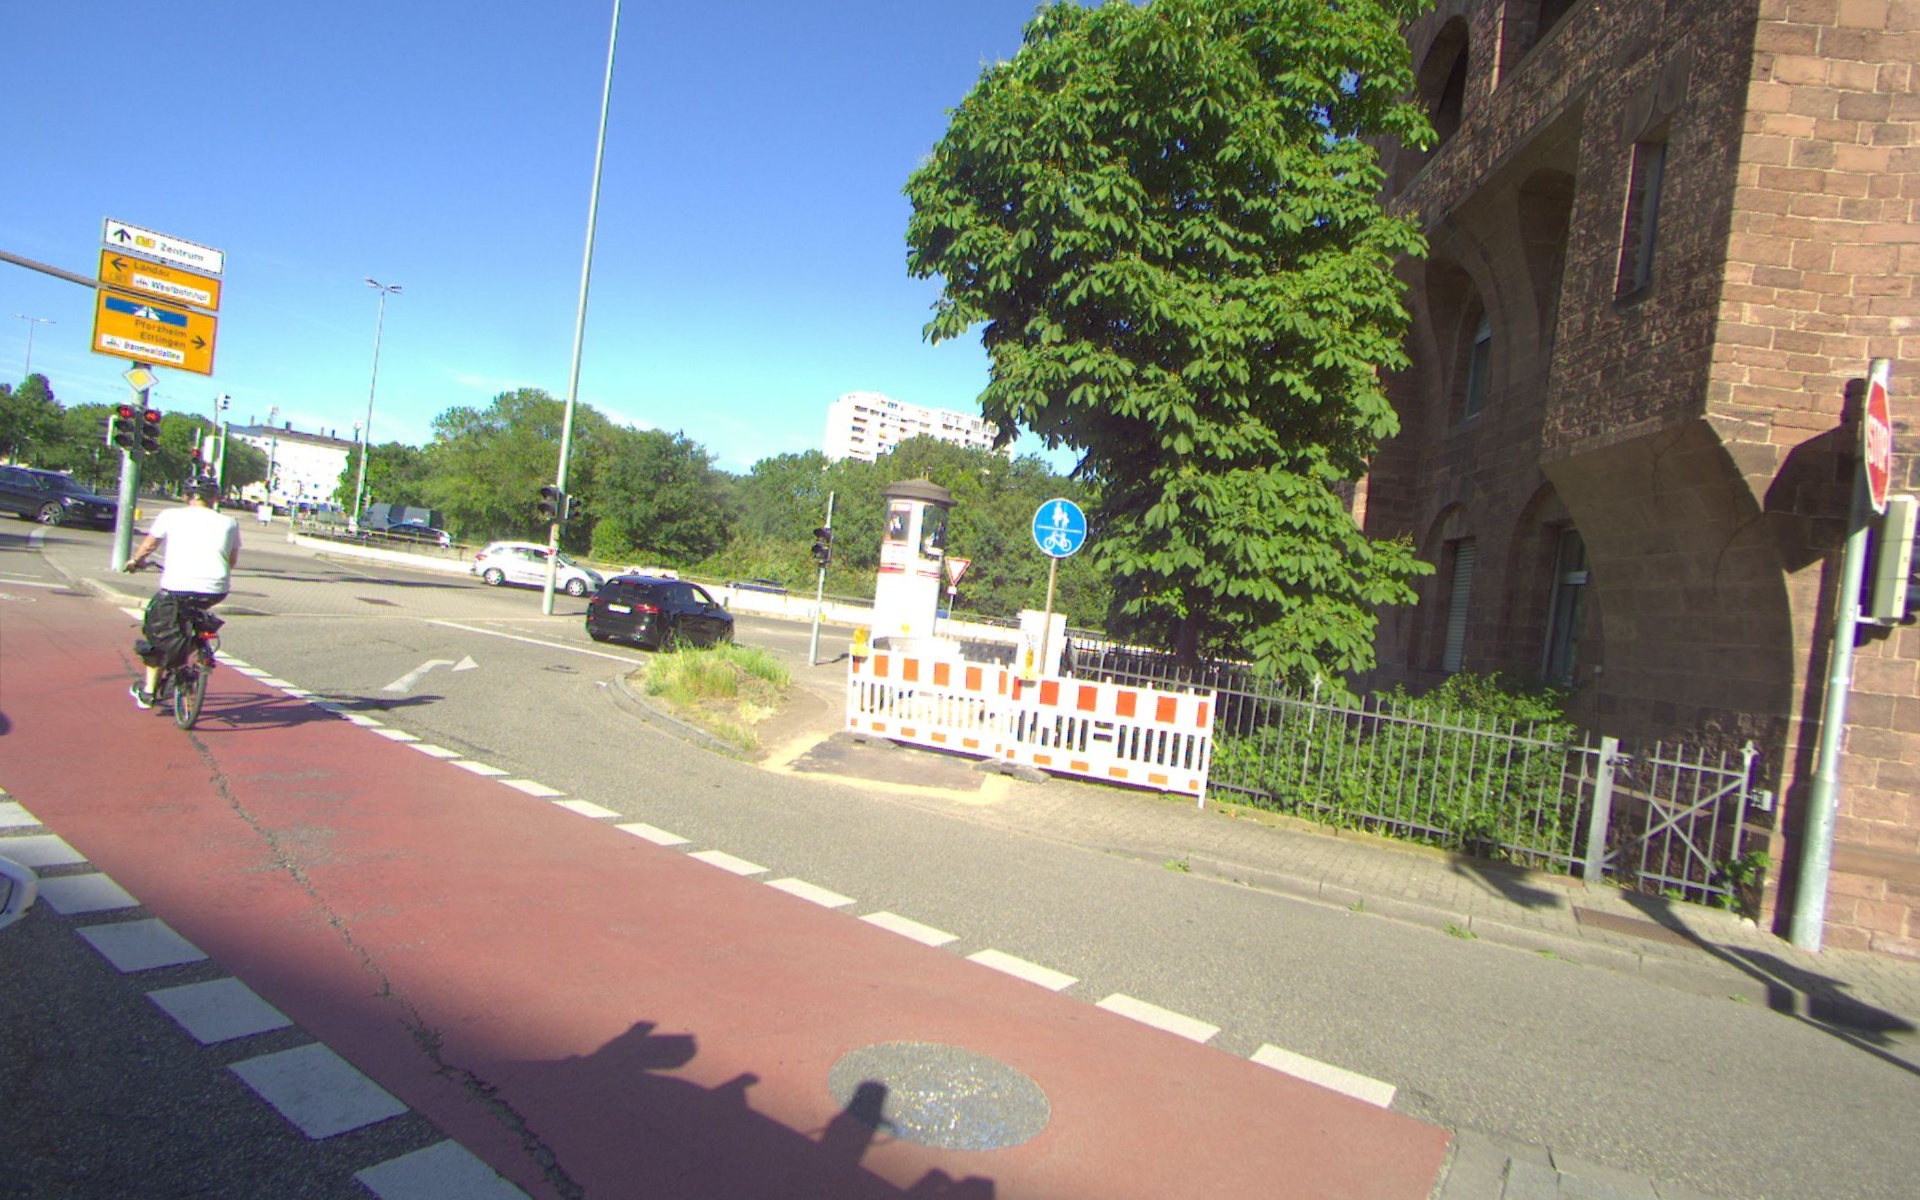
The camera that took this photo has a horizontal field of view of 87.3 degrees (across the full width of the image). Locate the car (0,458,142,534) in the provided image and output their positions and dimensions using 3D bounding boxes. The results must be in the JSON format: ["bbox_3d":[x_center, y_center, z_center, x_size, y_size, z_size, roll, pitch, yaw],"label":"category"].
[{"bbox_3d":[-29.114,-3.357,32.179,4.277,1.857,2.002,6,-2,6],"label":"car"}]

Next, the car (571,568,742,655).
[{"bbox_3d":[-6.645,0.295,22.521,1.723,1.512,4.001,9,0,14],"label":"car"}]

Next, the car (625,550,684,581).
[{"bbox_3d":[-22.297,-2.490,73.420,3.942,1.703,1.850,7,-2,-19],"label":"car"}]

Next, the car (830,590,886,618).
[{"bbox_3d":[-8.090,0.322,79.469,3.943,1.681,1.993,7,-2,-20],"label":"car"}]

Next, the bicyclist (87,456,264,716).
[{"bbox_3d":[-5.823,-0.102,7.500,0.796,1.725,1.074,8,-1,-38],"label":"bicyclist"}]

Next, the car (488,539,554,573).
[{"bbox_3d":[-30.843,-3.078,70.808,3.942,1.770,1.993,7,-2,-19],"label":"car"}]

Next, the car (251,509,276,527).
[{"bbox_3d":[-91.064,-10.685,131.581,1.977,1.814,3.975,7,-2,-27],"label":"car"}]

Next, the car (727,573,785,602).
[{"bbox_3d":[-15.492,-0.923,76.399,3.945,1.681,1.991,7,-2,-22],"label":"car"}]

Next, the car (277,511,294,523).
[{"bbox_3d":[-110.811,-13.577,165.234,1.978,1.660,3.968,7,1,-30],"label":"car"}]

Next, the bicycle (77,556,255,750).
[{"bbox_3d":[-5.883,0.329,7.506,0.796,1.123,2.377,9,-1,-38],"label":"bicycle"}]

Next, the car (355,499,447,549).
[{"bbox_3d":[-38.726,-5.242,69.786,4.798,2.638,2.262,6,-2,-4],"label":"car"}]

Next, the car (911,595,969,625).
[{"bbox_3d":[-1.629,0.792,81.855,4.203,1.875,2.011,8,-2,-22],"label":"car"}]

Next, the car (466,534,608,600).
[{"bbox_3d":[-14.073,-1.092,33.696,4.041,1.602,1.819,7,1,-16],"label":"car"}]

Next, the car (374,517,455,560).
[{"bbox_3d":[-33.704,-3.756,62.243,3.942,2.037,1.993,7,-2,-19],"label":"car"}]
